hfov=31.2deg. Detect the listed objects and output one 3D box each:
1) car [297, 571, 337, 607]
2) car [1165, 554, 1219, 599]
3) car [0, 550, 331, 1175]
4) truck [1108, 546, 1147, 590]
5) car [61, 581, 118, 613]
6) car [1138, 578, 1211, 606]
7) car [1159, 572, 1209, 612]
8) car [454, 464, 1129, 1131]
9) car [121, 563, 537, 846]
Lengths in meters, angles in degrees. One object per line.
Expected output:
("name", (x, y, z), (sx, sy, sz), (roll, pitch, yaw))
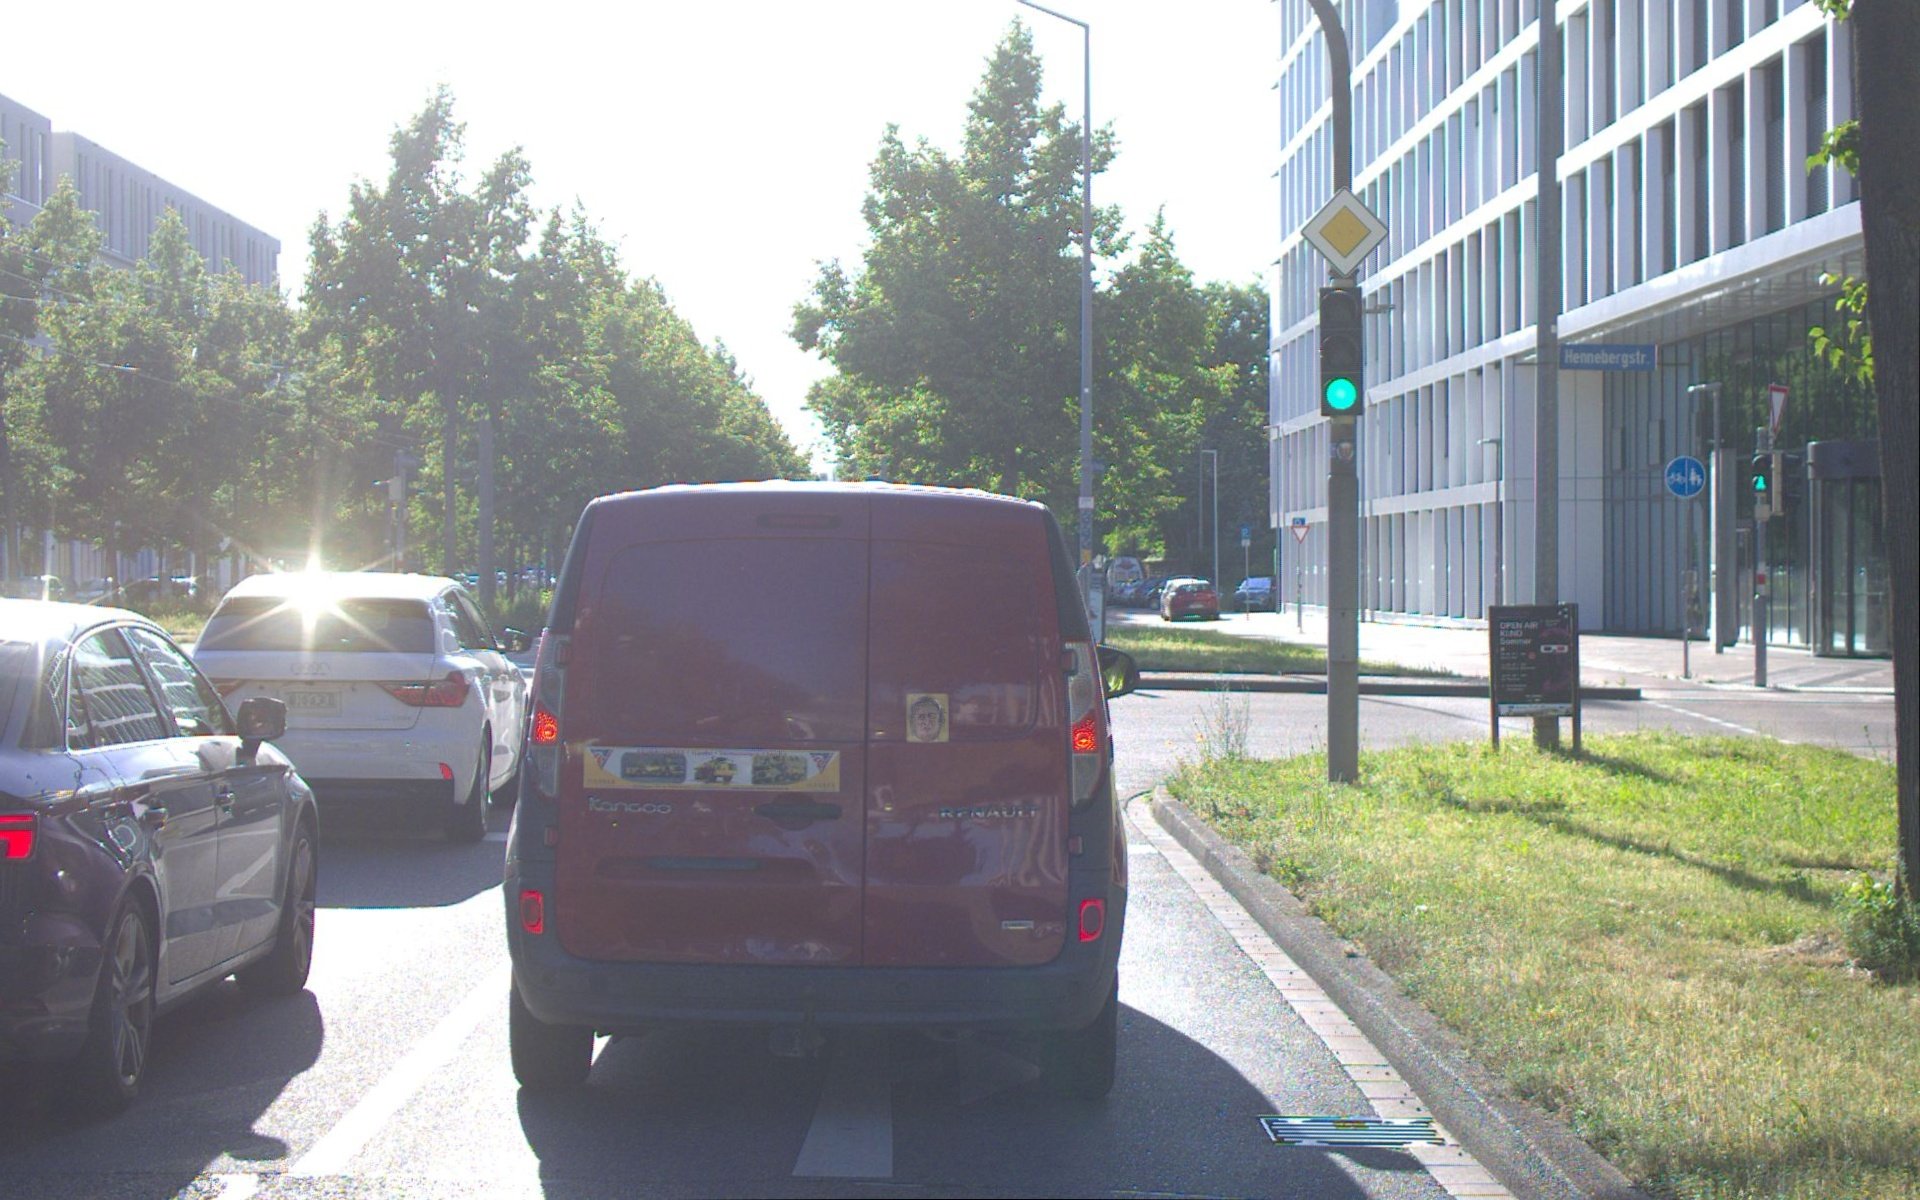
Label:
("car", (-36.863, -0.661, 197.251), (1.728, 2.007, 4.001), (0, 1, -3))
("car", (8.478, -0.859, 125.987), (1.758, 1.606, 3.903), (0, 1, 1))
("car", (-3.167, 0.614, 10.426), (1.808, 1.522, 4.113), (0, 1, -1))
("truck", (9.580, -1.819, 196.835), (1.831, 2.492, 5.933), (0, 0, -1))
("car", (-37.331, -0.149, 147.557), (1.580, 1.338, 3.712), (0, 0, -1))
("car", (10.221, -0.389, 163.910), (3.399, 1.354, 1.470), (0, 0, 6))
("car", (8.534, -0.320, 131.195), (1.819, 1.527, 3.437), (0, 0, 3))
("car", (-0.449, 0.507, 11.287), (1.808, 1.788, 4.113), (0, 1, 0))
("car", (-3.453, 0.510, 19.505), (1.808, 1.430, 4.113), (0, 1, -3))
